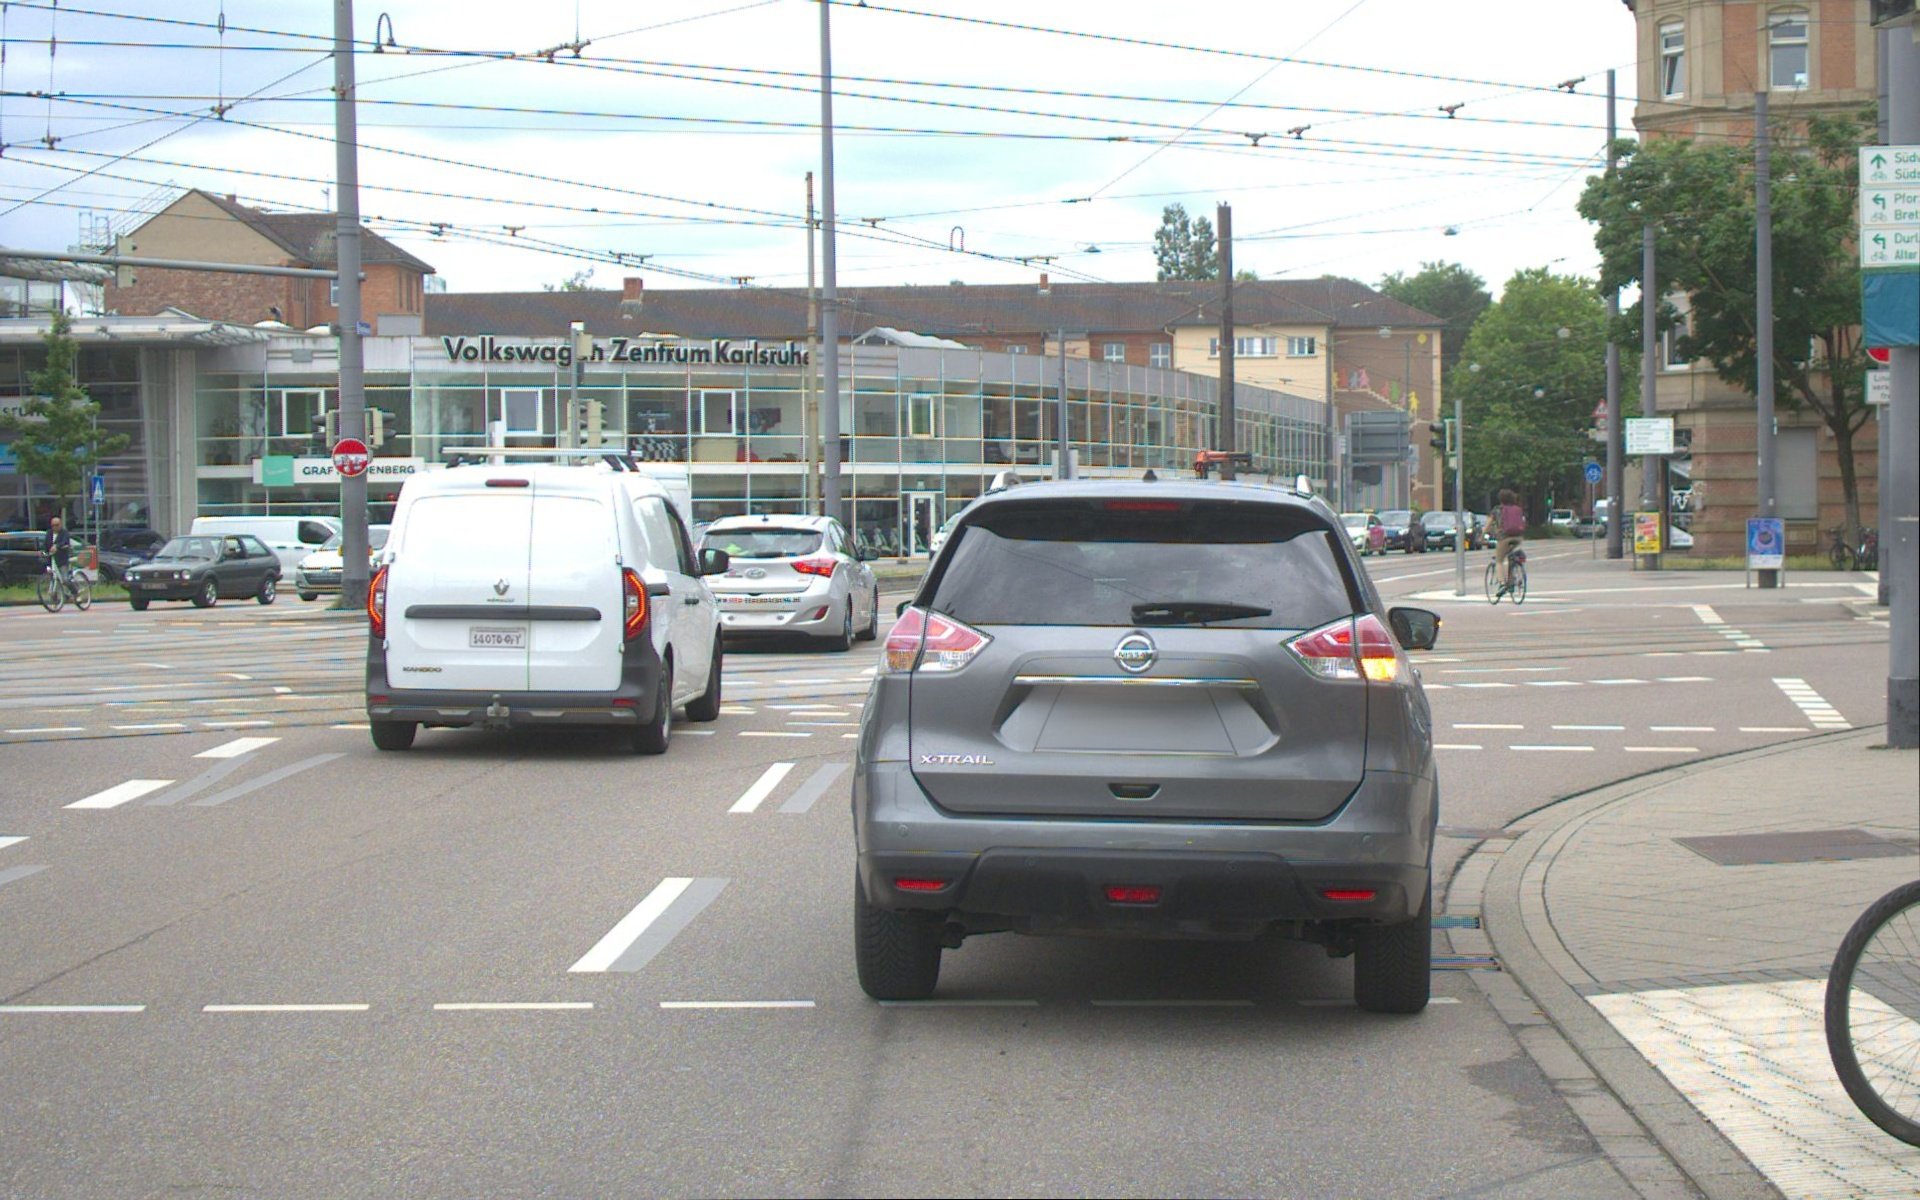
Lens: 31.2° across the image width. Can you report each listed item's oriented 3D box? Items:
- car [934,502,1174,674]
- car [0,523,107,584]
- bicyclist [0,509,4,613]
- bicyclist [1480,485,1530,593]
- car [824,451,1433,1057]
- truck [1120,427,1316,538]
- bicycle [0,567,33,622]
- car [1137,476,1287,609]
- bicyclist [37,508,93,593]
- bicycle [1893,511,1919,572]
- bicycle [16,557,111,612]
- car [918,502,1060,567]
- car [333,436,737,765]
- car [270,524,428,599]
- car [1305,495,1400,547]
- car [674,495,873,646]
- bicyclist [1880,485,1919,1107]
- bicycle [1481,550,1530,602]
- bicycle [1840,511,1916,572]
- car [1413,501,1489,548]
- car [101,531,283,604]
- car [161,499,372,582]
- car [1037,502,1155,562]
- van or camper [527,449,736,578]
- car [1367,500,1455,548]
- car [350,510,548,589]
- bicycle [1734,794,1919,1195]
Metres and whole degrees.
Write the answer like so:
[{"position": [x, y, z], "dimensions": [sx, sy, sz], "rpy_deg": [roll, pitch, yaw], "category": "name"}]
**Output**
[{"position": [0.898, -0.145, 30.644], "dimensions": [1.994, 1.415, 4.000], "rpy_deg": [0, 1, 3], "category": "car"}, {"position": [-22.271, -1.124, 82.745], "dimensions": [1.636, 1.415, 3.735], "rpy_deg": [0, 1, 18], "category": "car"}, {"position": [-17.016, -0.661, 59.311], "dimensions": [0.628, 1.797, 0.797], "rpy_deg": [0, 1, 19], "category": "bicyclist"}, {"position": [8.683, -0.979, 54.789], "dimensions": [0.687, 1.702, 0.798], "rpy_deg": [0, 1, 3], "category": "bicyclist"}, {"position": [0.619, 0.416, 11.932], "dimensions": [1.750, 1.750, 3.923], "rpy_deg": [-1, 1, 4], "category": "car"}, {"position": [8.796, -3.901, 115.995], "dimensions": [2.799, 3.537, 9.208], "rpy_deg": [1, 1, 30], "category": "truck"}, {"position": [-16.955, -0.084, 59.642], "dimensions": [0.519, 0.926, 2.221], "rpy_deg": [0, 2, 19], "category": "bicycle"}, {"position": [4.041, -0.918, 54.583], "dimensions": [1.994, 2.007, 3.999], "rpy_deg": [1, 1, 9], "category": "car"}, {"position": [-16.194, -0.906, 62.189], "dimensions": [0.566, 1.503, 0.856], "rpy_deg": [0, 3, 19], "category": "bicyclist"}, {"position": [21.973, -1.307, 77.773], "dimensions": [0.959, 1.349, 3.116], "rpy_deg": [1, 1, 28], "category": "bicycle"}, {"position": [-16.213, -0.283, 62.231], "dimensions": [0.519, 0.923, 2.221], "rpy_deg": [0, 2, 19], "category": "bicycle"}, {"position": [0.906, -1.948, 101.040], "dimensions": [2.159, 1.850, 5.441], "rpy_deg": [0, 2, 24], "category": "car"}, {"position": [-2.644, -0.046, 22.352], "dimensions": [1.912, 1.933, 4.131], "rpy_deg": [0, 1, 3], "category": "car"}, {"position": [-11.938, -0.769, 67.413], "dimensions": [1.636, 1.415, 3.735], "rpy_deg": [0, 1, 15], "category": "car"}, {"position": [14.340, -2.889, 125.531], "dimensions": [1.996, 1.832, 4.516], "rpy_deg": [0, 2, 27], "category": "car"}, {"position": [-1.939, -0.337, 36.737], "dimensions": [1.853, 1.503, 4.000], "rpy_deg": [1, 1, 1], "category": "car"}, {"position": [2.890, 0.474, 8.302], "dimensions": [1.097, 1.515, 0.760], "rpy_deg": [-1, 1, -4], "category": "bicyclist"}, {"position": [8.691, -0.393, 54.822], "dimensions": [0.619, 0.791, 1.592], "rpy_deg": [0, 1, 3], "category": "bicycle"}, {"position": [20.898, -1.328, 78.219], "dimensions": [0.959, 1.349, 3.116], "rpy_deg": [1, 1, 28], "category": "bicycle"}, {"position": [19.825, -3.062, 138.706], "dimensions": [1.996, 1.832, 4.518], "rpy_deg": [0, 2, 22], "category": "car"}, {"position": [-13.879, -0.607, 62.295], "dimensions": [1.687, 1.242, 3.735], "rpy_deg": [0, 1, 15], "category": "car"}, {"position": [-17.560, -1.514, 87.090], "dimensions": [4.769, 2.007, 2.120], "rpy_deg": [1, 1, 15], "category": "car"}, {"position": [4.284, -2.133, 107.652], "dimensions": [1.996, 1.832, 4.516], "rpy_deg": [0, 2, 27], "category": "car"}, {"position": [-6.891, -1.808, 72.979], "dimensions": [2.417, 2.602, 6.047], "rpy_deg": [1, 1, 15], "category": "van or camper"}, {"position": [17.350, -2.935, 132.091], "dimensions": [1.996, 1.832, 4.516], "rpy_deg": [0, 2, 27], "category": "car"}, {"position": [-9.511, -0.976, 64.378], "dimensions": [1.995, 1.415, 4.659], "rpy_deg": [0, 1, 15], "category": "car"}, {"position": [2.888, 0.894, 8.293], "dimensions": [1.820, 0.837, 0.767], "rpy_deg": [-2, 1, -4], "category": "bicycle"}]
